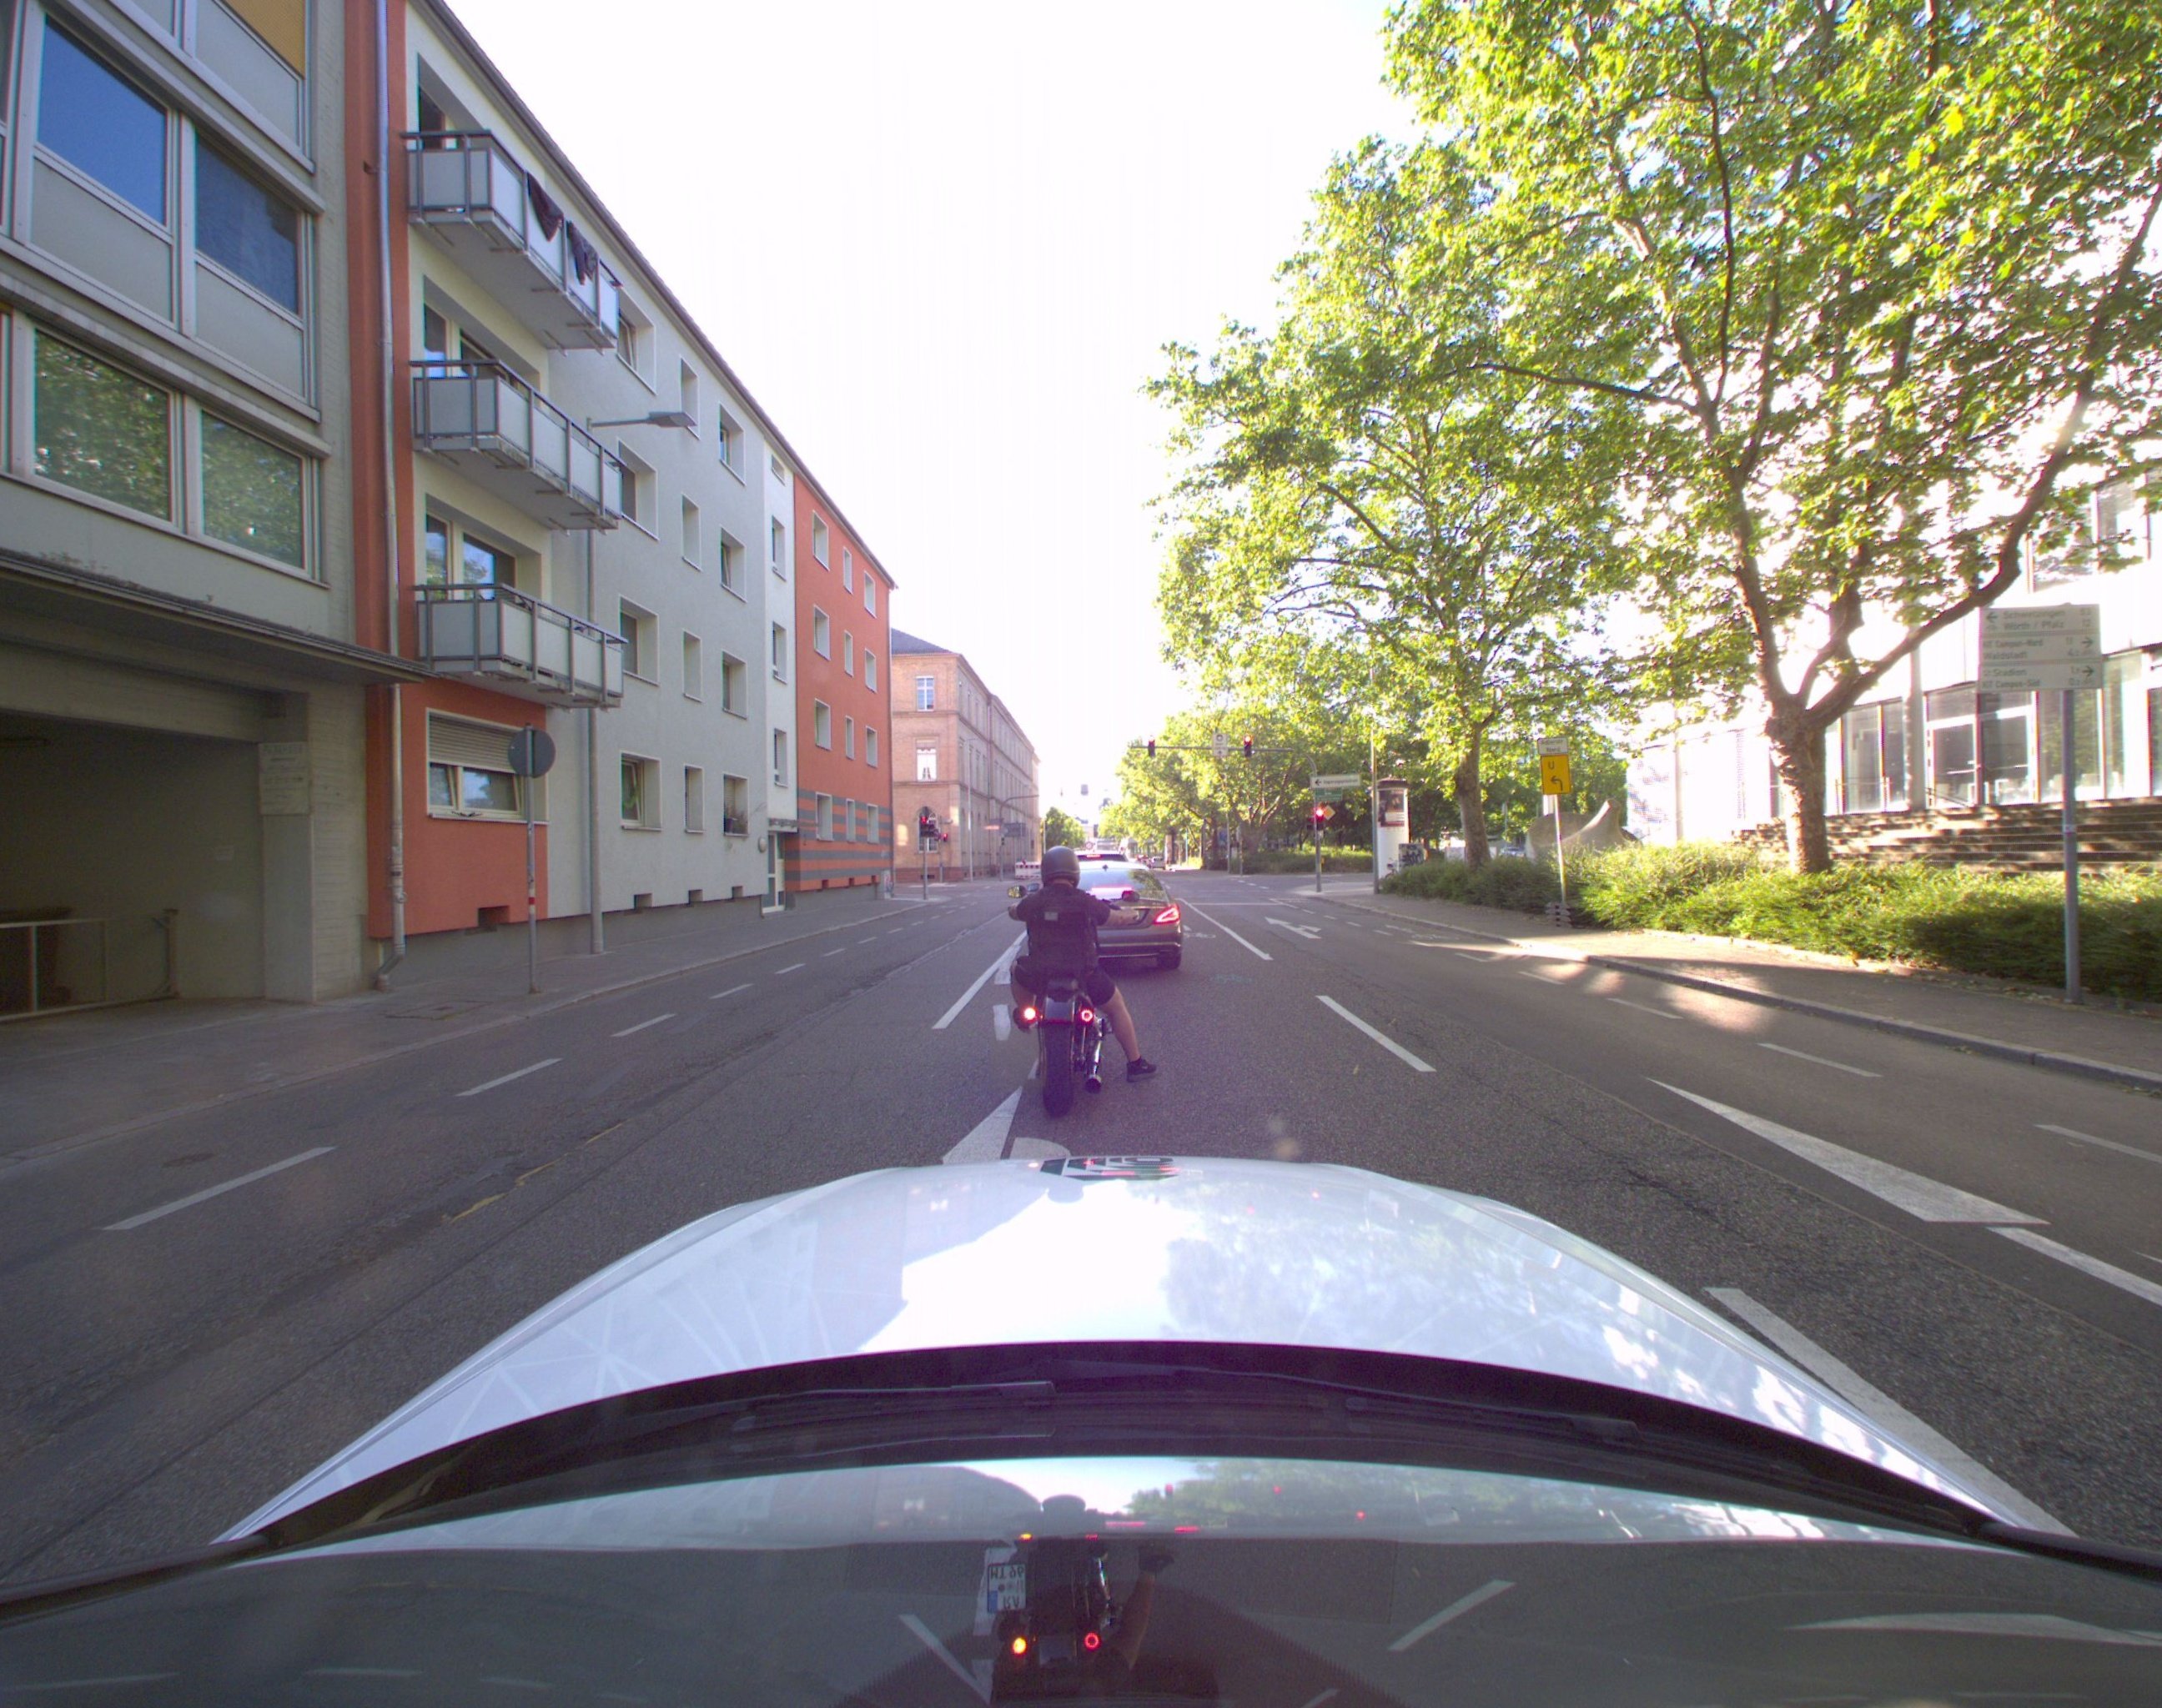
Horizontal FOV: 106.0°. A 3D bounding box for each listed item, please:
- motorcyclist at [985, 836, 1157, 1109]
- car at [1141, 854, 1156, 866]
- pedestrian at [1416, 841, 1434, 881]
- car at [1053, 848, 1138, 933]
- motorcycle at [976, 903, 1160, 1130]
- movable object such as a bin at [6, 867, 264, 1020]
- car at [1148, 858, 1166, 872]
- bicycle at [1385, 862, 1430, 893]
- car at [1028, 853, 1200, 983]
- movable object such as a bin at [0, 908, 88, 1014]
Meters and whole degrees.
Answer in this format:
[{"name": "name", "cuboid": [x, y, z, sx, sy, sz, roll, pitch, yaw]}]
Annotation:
[{"name": "motorcyclist", "cuboid": [-0.039, 0.702, 5.522, 0.986, 1.597, 1.404, -1, 0, 2]}, {"name": "car", "cuboid": [8.817, 0.750, 106.723, 1.848, 1.486, 3.912, 0, -1, 3]}, {"name": "pedestrian", "cuboid": [16.205, 0.336, 38.374, 0.549, 1.849, 0.594, -1, 0, 3]}, {"name": "car", "cuboid": [0.319, 0.709, 17.883, 1.606, 1.607, 4.329, -1, 0, 1]}, {"name": "motorcycle", "cuboid": [-0.031, 0.962, 5.675, 0.986, 1.078, 2.453, -1, 0, 2]}, {"name": "movable object such as a bin", "cuboid": [-9.629, 0.870, 8.361, 1.322, 1.430, 1.134, -1, 0, 3]}, {"name": "car", "cuboid": [8.469, 1.212, 90.739, 1.814, 1.481, 3.911, -2, 0, 3]}, {"name": "bicycle", "cuboid": [11.029, 0.797, 27.523, 1.346, 1.023, 0.363, -1, 0, 2]}, {"name": "car", "cuboid": [0.254, 0.746, 11.713, 1.943, 1.473, 4.355, -1, 0, -5]}, {"name": "movable object such as a bin", "cuboid": [-11.319, 1.116, 8.677, 0.593, 1.041, 0.703, 0, -1, 1]}]
